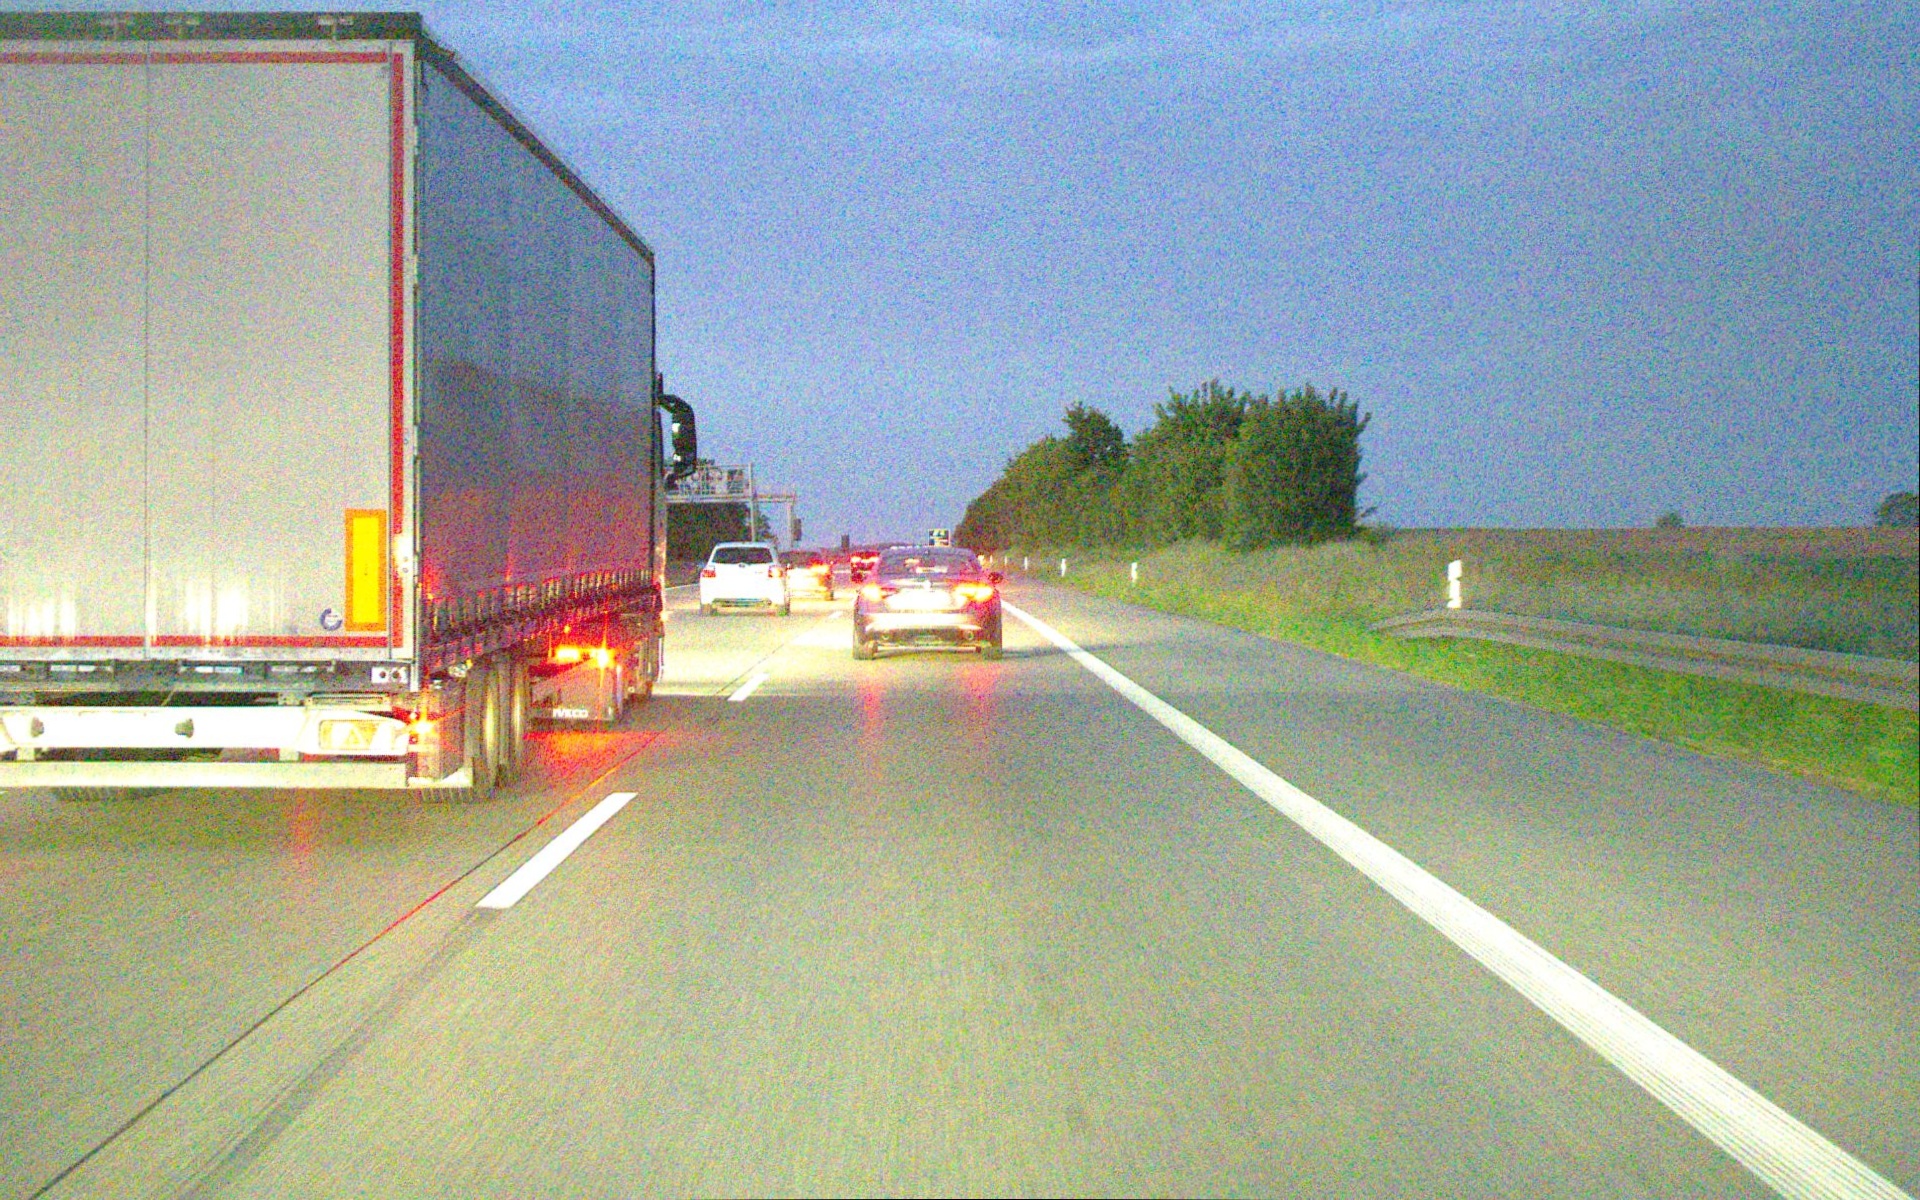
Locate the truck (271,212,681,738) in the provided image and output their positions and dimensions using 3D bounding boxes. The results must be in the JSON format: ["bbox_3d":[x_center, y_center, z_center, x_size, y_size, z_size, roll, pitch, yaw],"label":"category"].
[{"bbox_3d":[-4.004,-0.996,29.773,2.777,4.079,6.103,0,0,-1],"label":"truck"}]

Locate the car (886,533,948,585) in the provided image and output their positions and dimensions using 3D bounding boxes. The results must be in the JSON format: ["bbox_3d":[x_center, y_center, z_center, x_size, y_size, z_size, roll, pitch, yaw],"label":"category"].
[{"bbox_3d":[-1.344,-1.273,106.923,1.880,1.547,4.000,1,0,-1],"label":"car"}]

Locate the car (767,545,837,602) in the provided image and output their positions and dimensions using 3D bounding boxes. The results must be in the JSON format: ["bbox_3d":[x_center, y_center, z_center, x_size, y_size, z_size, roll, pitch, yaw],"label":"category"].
[{"bbox_3d":[-4.208,-0.705,92.113,1.722,1.466,4.726,1,0,-1],"label":"car"}]

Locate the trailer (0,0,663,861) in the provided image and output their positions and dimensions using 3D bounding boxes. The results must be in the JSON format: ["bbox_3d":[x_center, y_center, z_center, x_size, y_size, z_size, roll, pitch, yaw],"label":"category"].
[{"bbox_3d":[-3.883,-0.904,22.909,2.794,4.071,14.526,0,0,-1],"label":"trailer"}]

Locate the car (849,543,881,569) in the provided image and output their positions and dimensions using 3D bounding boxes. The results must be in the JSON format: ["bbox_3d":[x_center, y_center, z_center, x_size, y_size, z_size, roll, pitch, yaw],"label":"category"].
[{"bbox_3d":[-5.853,-2.687,211.810,1.880,1.547,4.000,1,0,-1],"label":"car"}]

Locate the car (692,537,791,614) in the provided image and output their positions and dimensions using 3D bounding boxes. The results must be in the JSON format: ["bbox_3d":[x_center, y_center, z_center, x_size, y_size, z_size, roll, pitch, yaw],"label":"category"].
[{"bbox_3d":[-4.468,-0.505,70.858,1.744,1.519,4.414,1,0,0],"label":"car"}]

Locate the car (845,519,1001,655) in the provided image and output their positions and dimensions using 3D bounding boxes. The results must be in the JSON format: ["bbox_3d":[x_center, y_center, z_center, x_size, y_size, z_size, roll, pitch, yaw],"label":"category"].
[{"bbox_3d":[-0.474,-0.171,44.021,1.880,1.637,4.000,1,0,-1],"label":"car"}]
